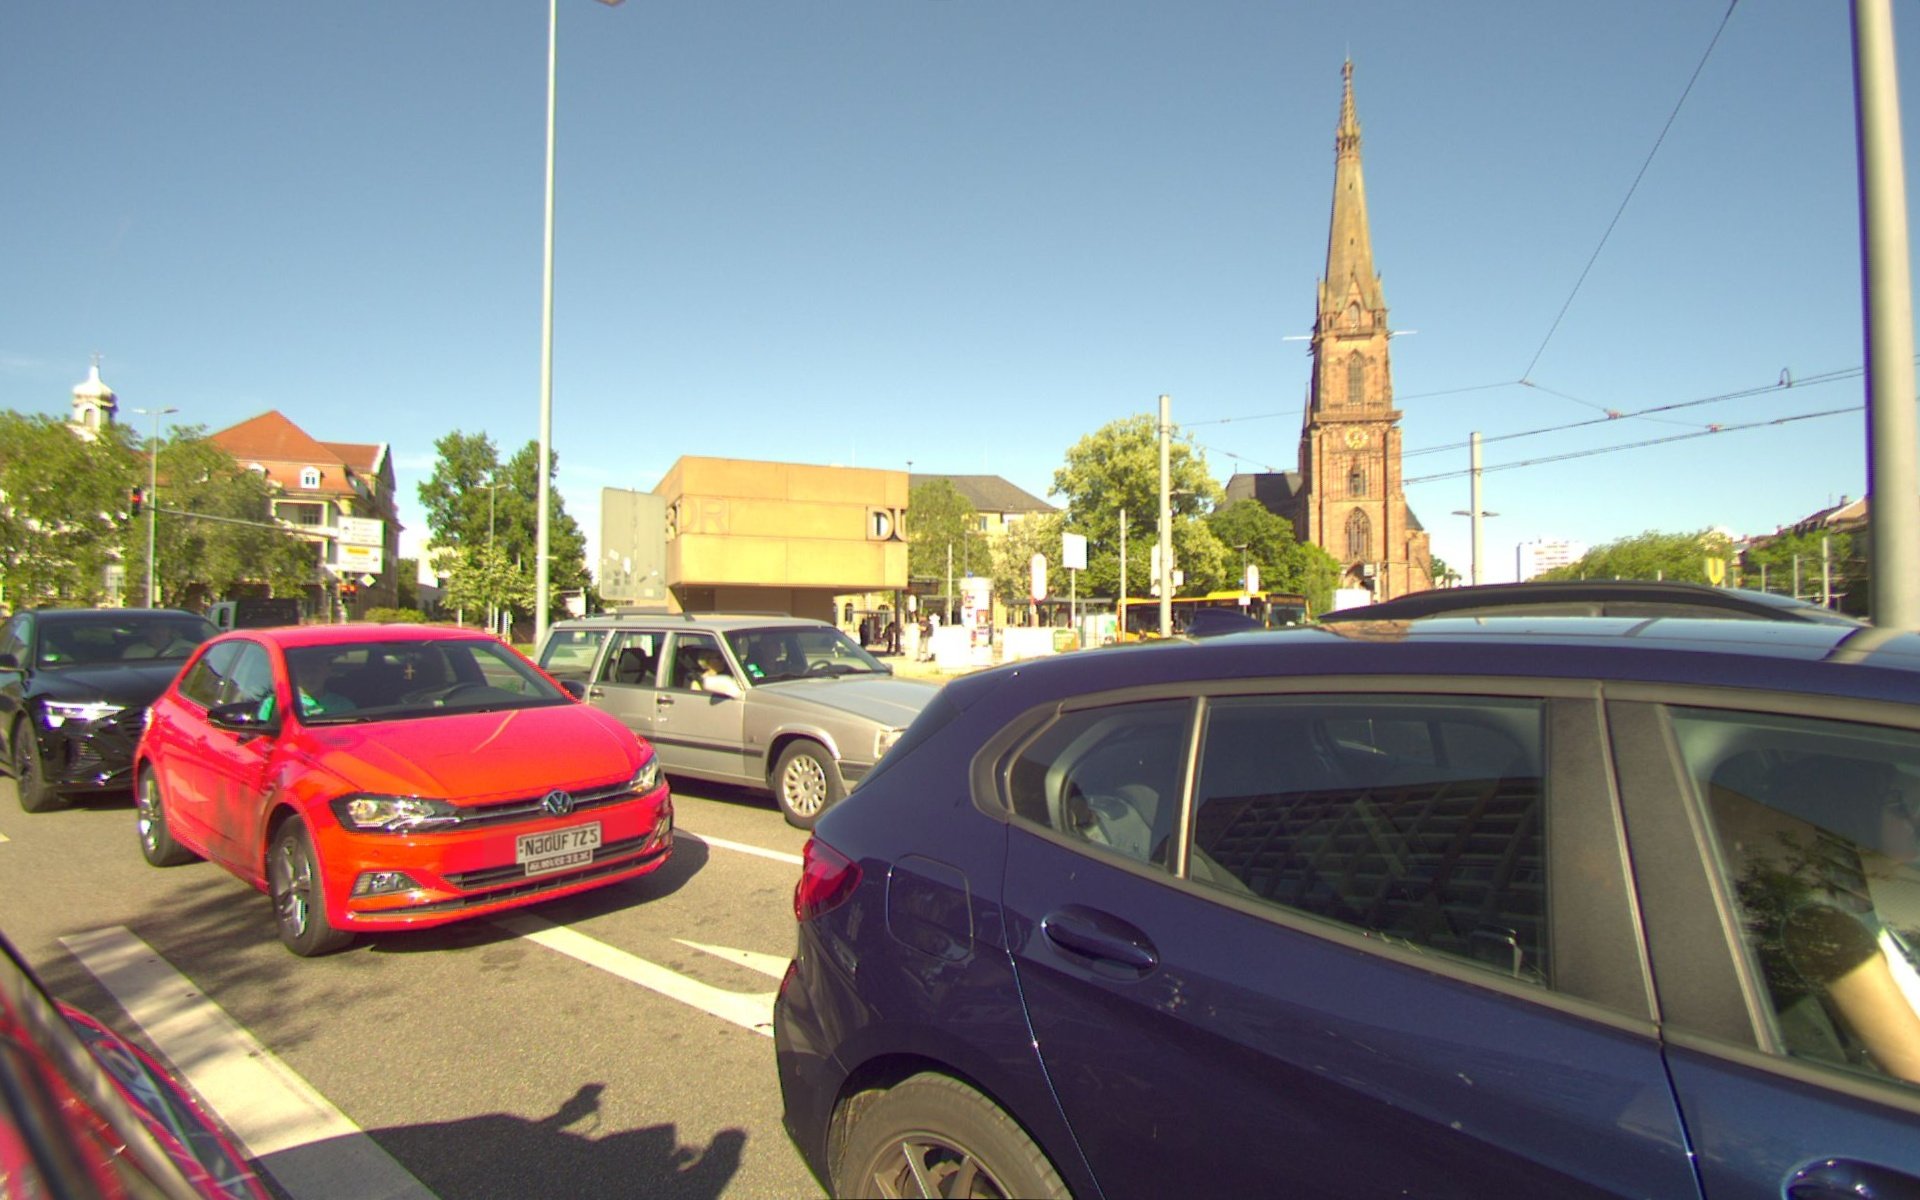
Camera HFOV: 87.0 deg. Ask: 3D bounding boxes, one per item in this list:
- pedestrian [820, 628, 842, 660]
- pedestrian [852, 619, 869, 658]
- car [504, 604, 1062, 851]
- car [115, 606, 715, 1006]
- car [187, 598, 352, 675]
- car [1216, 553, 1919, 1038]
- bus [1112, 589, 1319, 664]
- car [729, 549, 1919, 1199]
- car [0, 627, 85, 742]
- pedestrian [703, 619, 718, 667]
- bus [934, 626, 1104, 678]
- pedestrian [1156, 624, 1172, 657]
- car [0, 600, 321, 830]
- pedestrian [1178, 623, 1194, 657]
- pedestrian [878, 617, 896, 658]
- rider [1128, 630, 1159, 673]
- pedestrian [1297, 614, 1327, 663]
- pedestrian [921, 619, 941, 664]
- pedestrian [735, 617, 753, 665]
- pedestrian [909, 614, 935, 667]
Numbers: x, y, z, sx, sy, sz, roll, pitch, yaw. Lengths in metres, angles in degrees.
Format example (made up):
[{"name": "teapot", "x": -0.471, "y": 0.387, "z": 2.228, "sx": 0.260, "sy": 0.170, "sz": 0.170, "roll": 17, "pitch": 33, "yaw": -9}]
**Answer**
[{"name": "pedestrian", "x": -5.500, "y": 1.864, "z": 43.193, "sx": 0.635, "sy": 1.320, "sz": 0.764, "roll": 1, "pitch": -2, "yaw": -40}, {"name": "pedestrian", "x": -4.588, "y": 1.765, "z": 46.555, "sx": 0.468, "sy": 1.789, "sz": 0.638, "roll": -2, "pitch": -2, "yaw": 36}, {"name": "car", "x": -1.650, "y": 0.825, "z": 8.212, "sx": 4.743, "sy": 1.484, "sz": 1.693, "roll": -2, "pitch": -2, "yaw": 37}, {"name": "car", "x": -3.231, "y": 0.813, "z": 5.664, "sx": 3.850, "sy": 1.484, "sz": 1.653, "roll": -2, "pitch": -1, "yaw": 40}, {"name": "car", "x": -22.677, "y": 1.185, "z": 33.161, "sx": 6.191, "sy": 2.331, "sz": 2.095, "roll": -1, "pitch": -2, "yaw": 31}, {"name": "car", "x": 3.292, "y": 0.632, "z": 4.150, "sx": 4.010, "sy": 1.529, "sz": 1.738, "roll": -2, "pitch": -2, "yaw": 44}, {"name": "bus", "x": 11.635, "y": 1.319, "z": 48.111, "sx": 2.715, "sy": 3.088, "sz": 12.201, "roll": 1, "pitch": -2, "yaw": -23}, {"name": "car", "x": 1.587, "y": 0.676, "z": 1.384, "sx": 4.030, "sy": 1.456, "sz": 1.692, "roll": -1, "pitch": -1, "yaw": 42}, {"name": "car", "x": -13.610, "y": 1.117, "z": 13.892, "sx": 3.704, "sy": 1.429, "sz": 1.557, "roll": -1, "pitch": -1, "yaw": 35}, {"name": "pedestrian", "x": -9.527, "y": 1.627, "z": 38.613, "sx": 0.460, "sy": 1.789, "sz": 0.648, "roll": 0, "pitch": -2, "yaw": -21}, {"name": "bus", "x": 1.483, "y": 1.304, "z": 26.188, "sx": 4.174, "sy": 1.251, "sz": 1.627, "roll": -1, "pitch": -2, "yaw": 35}, {"name": "pedestrian", "x": 9.451, "y": 1.866, "z": 46.822, "sx": 0.562, "sy": 1.525, "sz": 0.528, "roll": -1, "pitch": -1, "yaw": -5}, {"name": "car", "x": -7.793, "y": 0.879, "z": 9.294, "sx": 4.446, "sy": 1.628, "sz": 1.836, "roll": -1, "pitch": -2, "yaw": 38}, {"name": "pedestrian", "x": 10.424, "y": 1.849, "z": 46.697, "sx": 0.553, "sy": 1.525, "sz": 0.528, "roll": -1, "pitch": -1, "yaw": -5}, {"name": "pedestrian", "x": -3.246, "y": 1.663, "z": 44.990, "sx": 0.468, "sy": 1.789, "sz": 0.638, "roll": -2, "pitch": -2, "yaw": 36}, {"name": "rider", "x": 6.378, "y": 1.776, "z": 35.245, "sx": 0.847, "sy": 1.475, "sz": 0.672, "roll": 0, "pitch": -2, "yaw": -12}, {"name": "pedestrian", "x": 13.531, "y": 1.477, "z": 38.922, "sx": 0.882, "sy": 1.869, "sz": 0.679, "roll": -2, "pitch": -3, "yaw": 41}, {"name": "pedestrian", "x": -1.180, "y": 1.661, "z": 40.894, "sx": 0.634, "sy": 1.789, "sz": 0.470, "roll": 1, "pitch": -2, "yaw": -29}, {"name": "pedestrian", "x": -8.152, "y": 1.531, "z": 38.207, "sx": 0.635, "sy": 1.789, "sz": 0.618, "roll": 0, "pitch": -2, "yaw": -8}, {"name": "pedestrian", "x": -1.333, "y": 1.415, "z": 35.482, "sx": 0.664, "sy": 1.802, "sz": 0.641, "roll": -1, "pitch": -1, "yaw": 24}]
